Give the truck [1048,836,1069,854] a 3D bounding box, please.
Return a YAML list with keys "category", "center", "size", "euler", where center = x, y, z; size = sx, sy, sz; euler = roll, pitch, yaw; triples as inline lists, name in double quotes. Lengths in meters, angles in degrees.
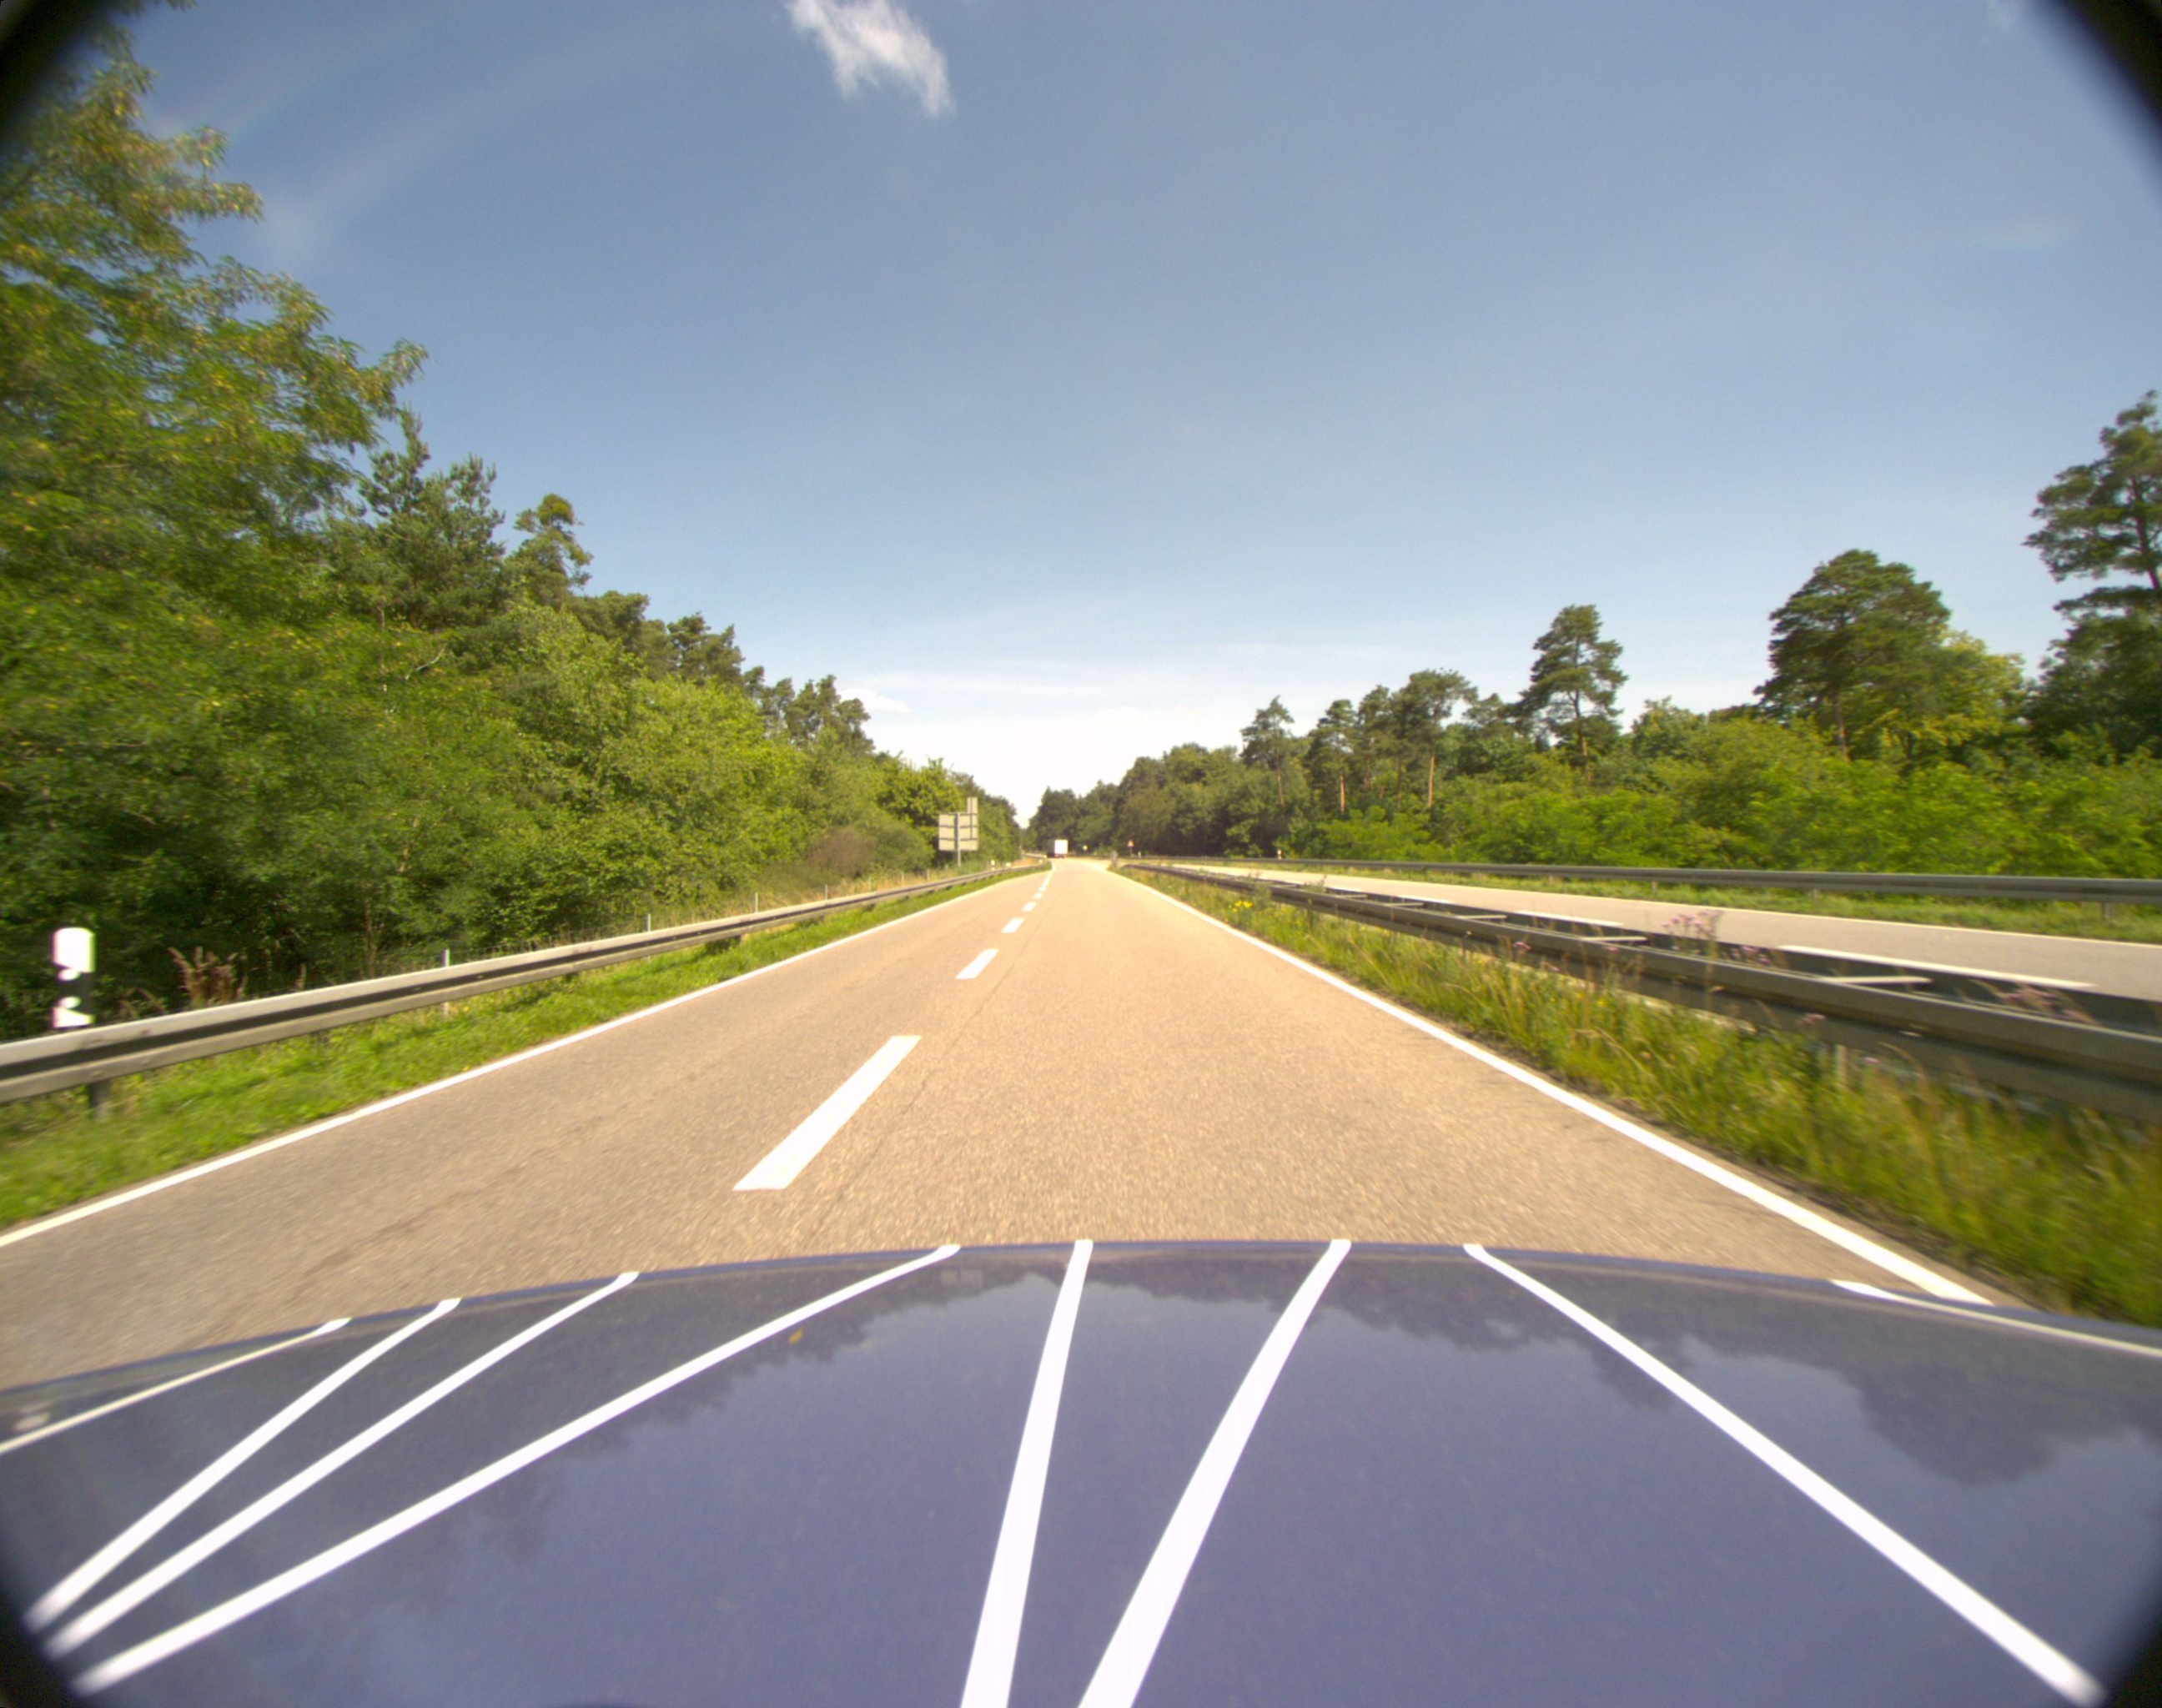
- category: "truck"
  center: [-5.039, -1.919, 169.768]
  size: [2.792, 3.854, 14.134]
  euler: [-2, 1, -9]
